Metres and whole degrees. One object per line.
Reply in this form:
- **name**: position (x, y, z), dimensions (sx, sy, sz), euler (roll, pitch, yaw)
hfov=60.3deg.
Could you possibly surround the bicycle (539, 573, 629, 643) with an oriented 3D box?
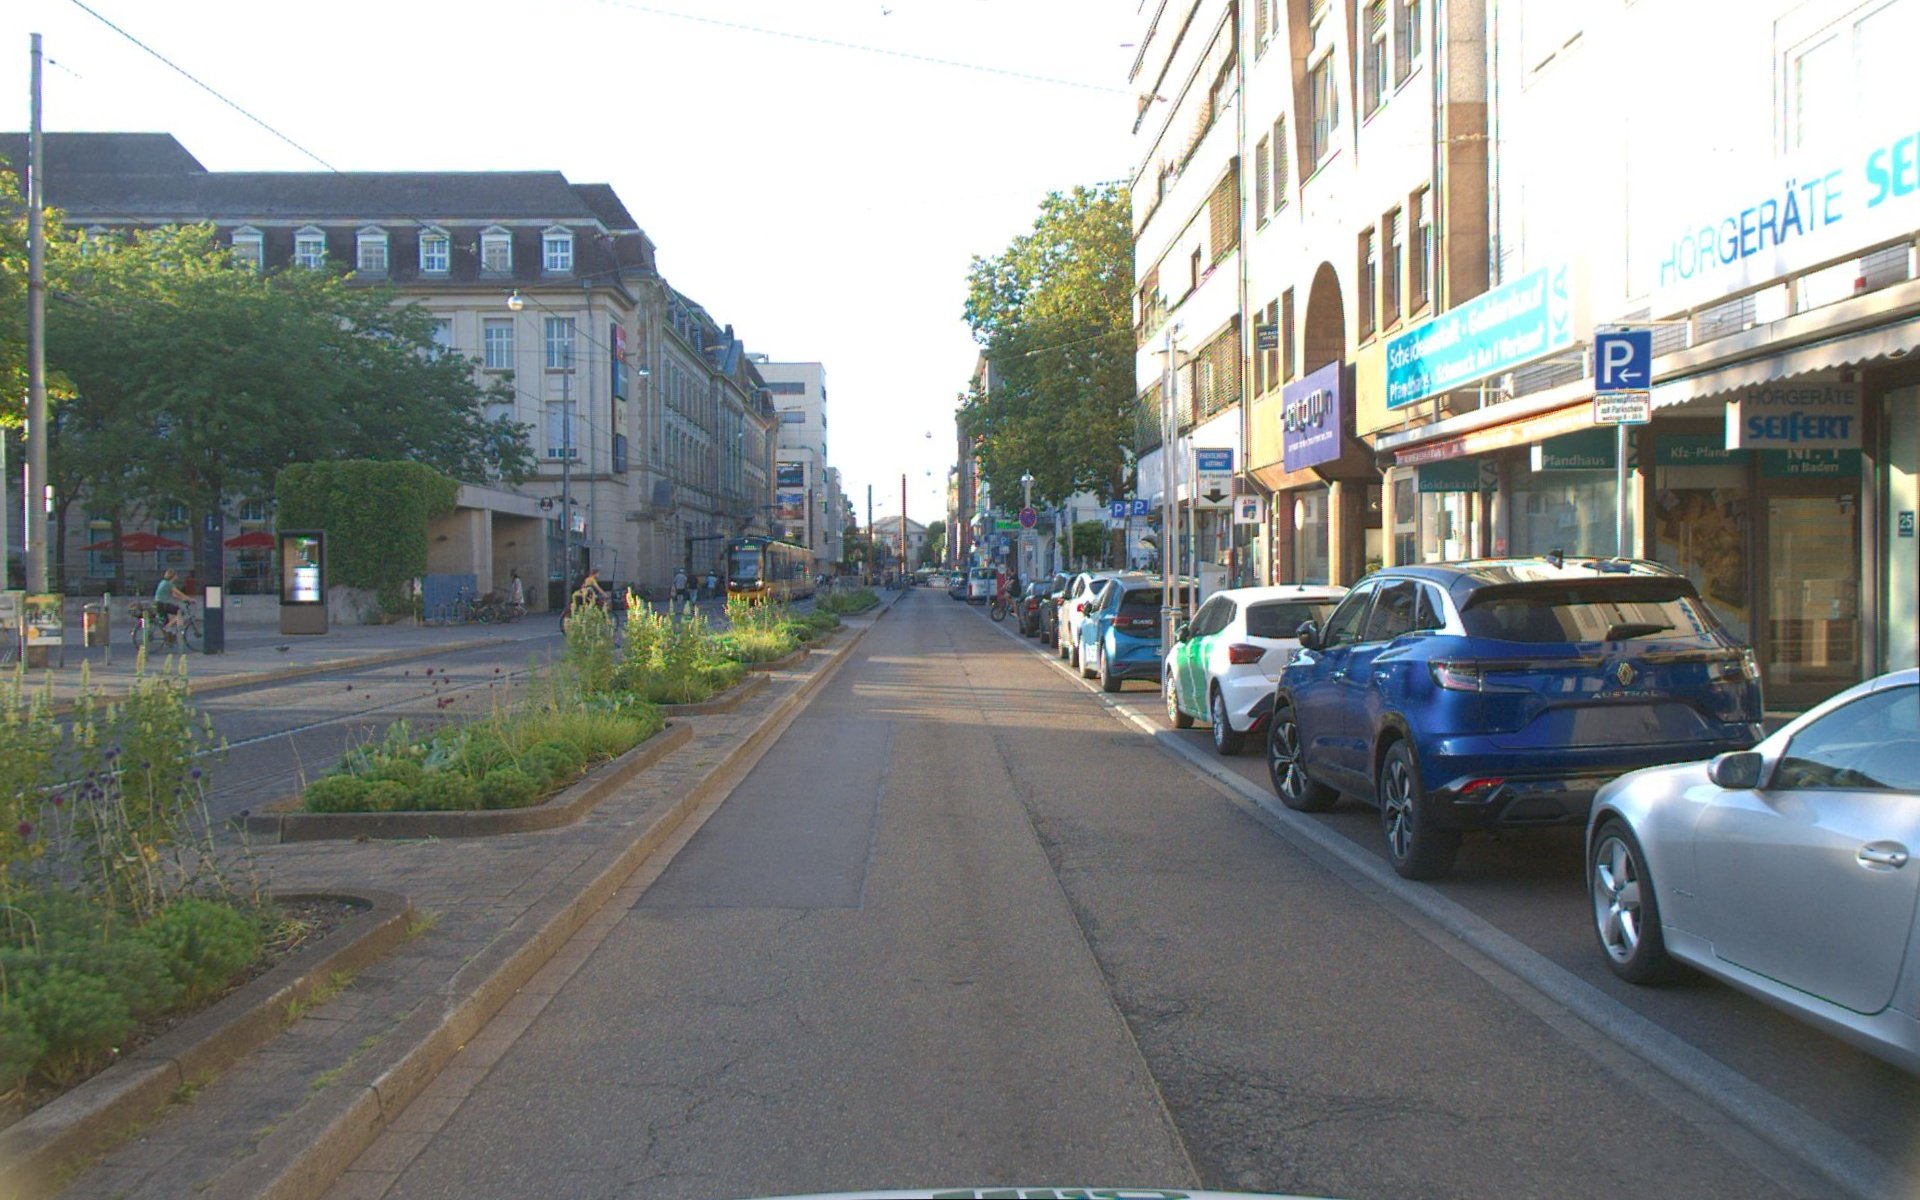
- **bicycle**: position (-9.862, 0.189, 43.477), dimensions (0.593, 1.770, 2.351), euler (0, 1, 44)

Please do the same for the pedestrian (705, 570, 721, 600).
- **pedestrian**: position (-14.590, -0.901, 97.616), dimensions (0.798, 1.737, 0.761), euler (-1, -1, -1)

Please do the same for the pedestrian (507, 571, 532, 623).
- **pedestrian**: position (-17.122, -0.114, 64.320), dimensions (0.709, 1.968, 0.793), euler (-1, -1, 2)

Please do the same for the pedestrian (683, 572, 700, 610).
- **pedestrian**: position (-13.486, -0.460, 83.042), dimensions (0.718, 1.873, 0.714), euler (-1, -1, -1)

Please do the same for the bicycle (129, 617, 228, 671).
- **bicycle**: position (-17.230, 0.960, 36.488), dimensions (1.920, 1.131, 0.453), euler (0, -1, -42)

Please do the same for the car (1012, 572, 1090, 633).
- **car**: position (2.372, 0.032, 43.955), dimensions (1.622, 1.404, 4.340), euler (-4, 1, -1)

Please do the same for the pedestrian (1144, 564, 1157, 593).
- **pedestrian**: position (8.794, -0.975, 76.364), dimensions (0.466, 1.307, 0.526), euler (-1, -1, 16)

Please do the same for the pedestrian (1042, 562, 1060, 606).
- **pedestrian**: position (3.899, -0.676, 70.920), dimensions (0.699, 1.835, 0.824), euler (-1, 0, 1)

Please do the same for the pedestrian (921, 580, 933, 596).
- **pedestrian**: position (-4.056, -1.498, 203.629), dimensions (1.210, 1.962, 1.017), euler (0, 0, -17)

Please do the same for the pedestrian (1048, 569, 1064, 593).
- **pedestrian**: position (5.370, -1.068, 92.566), dimensions (0.806, 1.329, 0.869), euler (-1, -1, -2)

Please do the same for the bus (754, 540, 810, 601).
- **bus**: position (-11.186, -1.883, 104.517), dimensions (2.765, 3.687, 8.288), euler (-1, 1, -1)

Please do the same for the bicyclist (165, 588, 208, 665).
- **bicyclist**: position (-17.120, 0.583, 36.612), dimensions (0.699, 1.697, 0.618), euler (0, -2, -42)

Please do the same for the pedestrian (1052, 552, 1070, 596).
- **pedestrian**: position (4.085, -1.044, 67.161), dimensions (0.664, 1.747, 0.654), euler (-1, -1, 1)

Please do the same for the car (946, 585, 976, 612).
- **car**: position (0.033, -0.091, 113.442), dimensions (1.953, 1.791, 4.420), euler (-1, 0, -2)

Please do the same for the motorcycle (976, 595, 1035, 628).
- **motorcycle**: position (1.592, 0.405, 57.856), dimensions (2.001, 1.143, 0.568), euler (-1, -1, 4)

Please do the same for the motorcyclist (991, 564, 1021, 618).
- **motorcyclist**: position (1.612, -0.303, 57.849), dimensions (0.981, 1.845, 0.960), euler (-1, -1, 3)

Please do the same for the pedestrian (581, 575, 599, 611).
- **pedestrian**: position (-17.218, -0.331, 76.970), dimensions (0.705, 1.674, 0.655), euler (0, 0, -23)

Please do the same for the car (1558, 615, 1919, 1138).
- **car**: position (3.341, 0.740, 5.030), dimensions (1.639, 1.305, 4.064), euler (-1, 0, 1)

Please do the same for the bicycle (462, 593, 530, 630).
- **bicycle**: position (-16.237, 0.384, 57.894), dimensions (2.196, 1.253, 0.585), euler (-1, 0, -2)

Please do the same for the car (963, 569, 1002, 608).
- **car**: position (1.170, -0.610, 88.657), dimensions (1.876, 2.016, 4.420), euler (-1, 0, -2)

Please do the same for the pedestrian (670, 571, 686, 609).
- **pedestrian**: position (-14.201, -0.497, 83.175), dimensions (0.679, 1.880, 0.661), euler (-1, -1, -1)

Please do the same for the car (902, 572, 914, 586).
- **car**: position (-7.414, -2.955, 235.166), dimensions (1.725, 1.859, 3.569), euler (-1, -1, -2)

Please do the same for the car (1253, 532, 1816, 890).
- **car**: position (3.050, 0.481, 9.812), dimensions (1.729, 1.633, 4.286), euler (-1, 1, -2)

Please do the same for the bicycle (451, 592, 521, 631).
- **bicycle**: position (-16.101, 0.395, 56.224), dimensions (2.196, 1.277, 0.579), euler (-1, -1, -2)

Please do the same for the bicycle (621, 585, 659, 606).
- **bicycle**: position (-18.166, -0.236, 93.828), dimensions (2.037, 1.168, 0.574), euler (-1, -1, -6)

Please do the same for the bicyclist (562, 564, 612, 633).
- **bicyclist**: position (-9.815, -0.041, 43.496), dimensions (0.954, 1.807, 0.925), euler (0, 0, 45)

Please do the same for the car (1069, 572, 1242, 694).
- **car**: position (2.739, 0.402, 24.219), dimensions (1.773, 1.579, 4.834), euler (-1, 1, -2)

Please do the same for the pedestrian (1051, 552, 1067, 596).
- **pedestrian**: position (4.067, -1.060, 67.831), dimensions (0.601, 1.747, 0.662), euler (-1, -1, 0)

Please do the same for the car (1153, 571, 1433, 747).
- **car**: position (3.076, 0.520, 16.145), dimensions (1.696, 1.460, 4.150), euler (-1, -1, -3)

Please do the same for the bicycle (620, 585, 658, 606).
- **bicycle**: position (-18.087, -0.246, 93.163), dimensions (2.057, 1.168, 0.574), euler (-1, -1, -6)

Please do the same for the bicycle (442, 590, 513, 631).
- **bicycle**: position (-15.943, 0.349, 54.701), dimensions (2.152, 1.323, 0.579), euler (-1, -1, -2)

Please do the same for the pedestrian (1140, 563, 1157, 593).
- **pedestrian**: position (8.529, -0.987, 74.692), dimensions (0.630, 1.307, 0.742), euler (-1, -1, 15)

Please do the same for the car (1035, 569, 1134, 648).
- **car**: position (2.734, 0.137, 37.228), dimensions (1.740, 1.565, 4.577), euler (-1, 2, -2)

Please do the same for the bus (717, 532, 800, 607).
- **bus**: position (-10.969, -1.660, 91.827), dimensions (2.765, 3.715, 17.069), euler (-1, 1, -1)

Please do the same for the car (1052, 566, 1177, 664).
- **car**: position (2.716, 0.216, 30.001), dimensions (1.779, 1.613, 4.723), euler (0, 1, 0)

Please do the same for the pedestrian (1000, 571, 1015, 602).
- **pedestrian**: position (2.803, -0.780, 97.866), dimensions (0.772, 1.782, 0.893), euler (-1, -1, -8)
